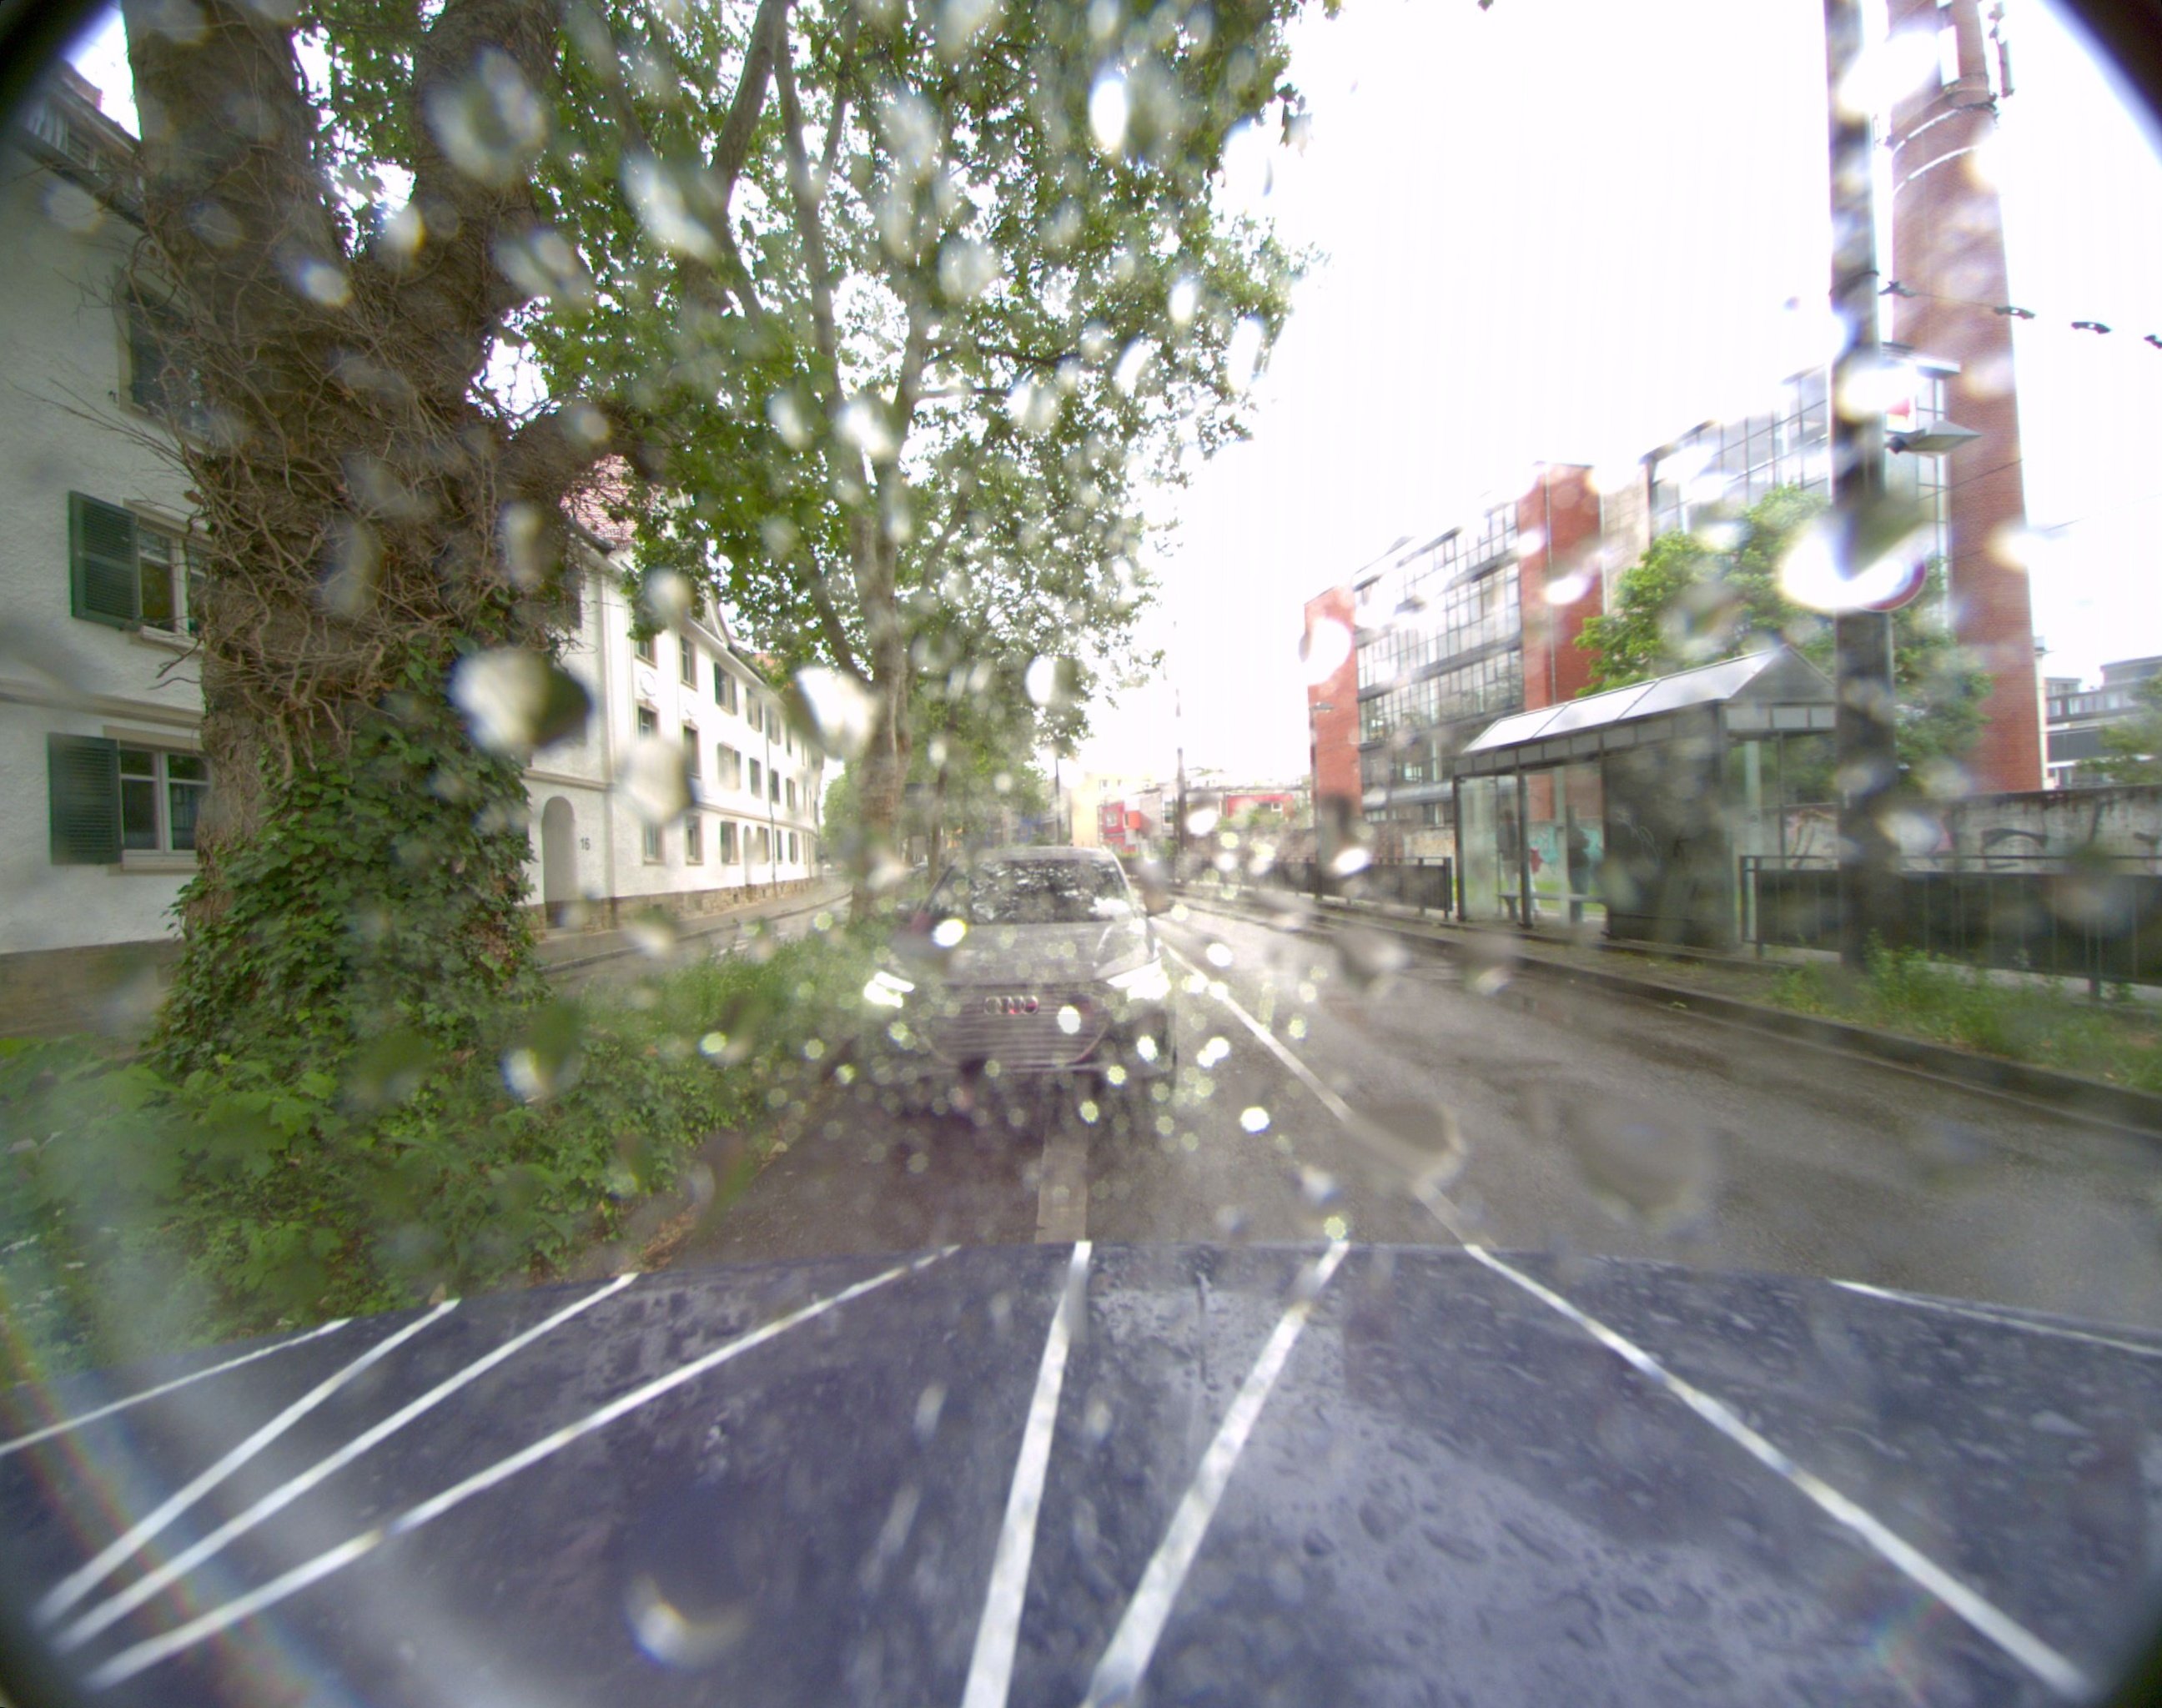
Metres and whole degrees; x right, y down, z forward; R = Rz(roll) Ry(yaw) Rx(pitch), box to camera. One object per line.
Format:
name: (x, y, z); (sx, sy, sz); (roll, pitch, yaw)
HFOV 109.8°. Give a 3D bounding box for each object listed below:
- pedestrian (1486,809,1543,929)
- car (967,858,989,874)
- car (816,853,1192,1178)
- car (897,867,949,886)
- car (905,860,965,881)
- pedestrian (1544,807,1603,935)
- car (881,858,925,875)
pedestrian: (6.442, 0.220, 11.291); (0.584, 1.721, 0.566); (-1, 1, -41)
car: (-11.857, 1.364, 87.102); (1.694, 1.713, 3.685); (-1, 0, -20)
car: (-0.360, 0.819, 5.943); (1.851, 1.586, 4.216); (-2, 0, 1)
car: (-14.564, 2.081, 70.227); (4.328, 1.603, 1.749); (-1, 0, 6)
car: (-11.459, 1.275, 59.661); (4.224, 1.532, 1.932); (-1, 0, 11)
pedestrian: (6.871, 0.231, 10.602); (0.584, 1.721, 0.566); (-1, 1, -43)
car: (-22.197, 1.522, 94.766); (4.884, 2.002, 2.002); (-1, 0, 11)
